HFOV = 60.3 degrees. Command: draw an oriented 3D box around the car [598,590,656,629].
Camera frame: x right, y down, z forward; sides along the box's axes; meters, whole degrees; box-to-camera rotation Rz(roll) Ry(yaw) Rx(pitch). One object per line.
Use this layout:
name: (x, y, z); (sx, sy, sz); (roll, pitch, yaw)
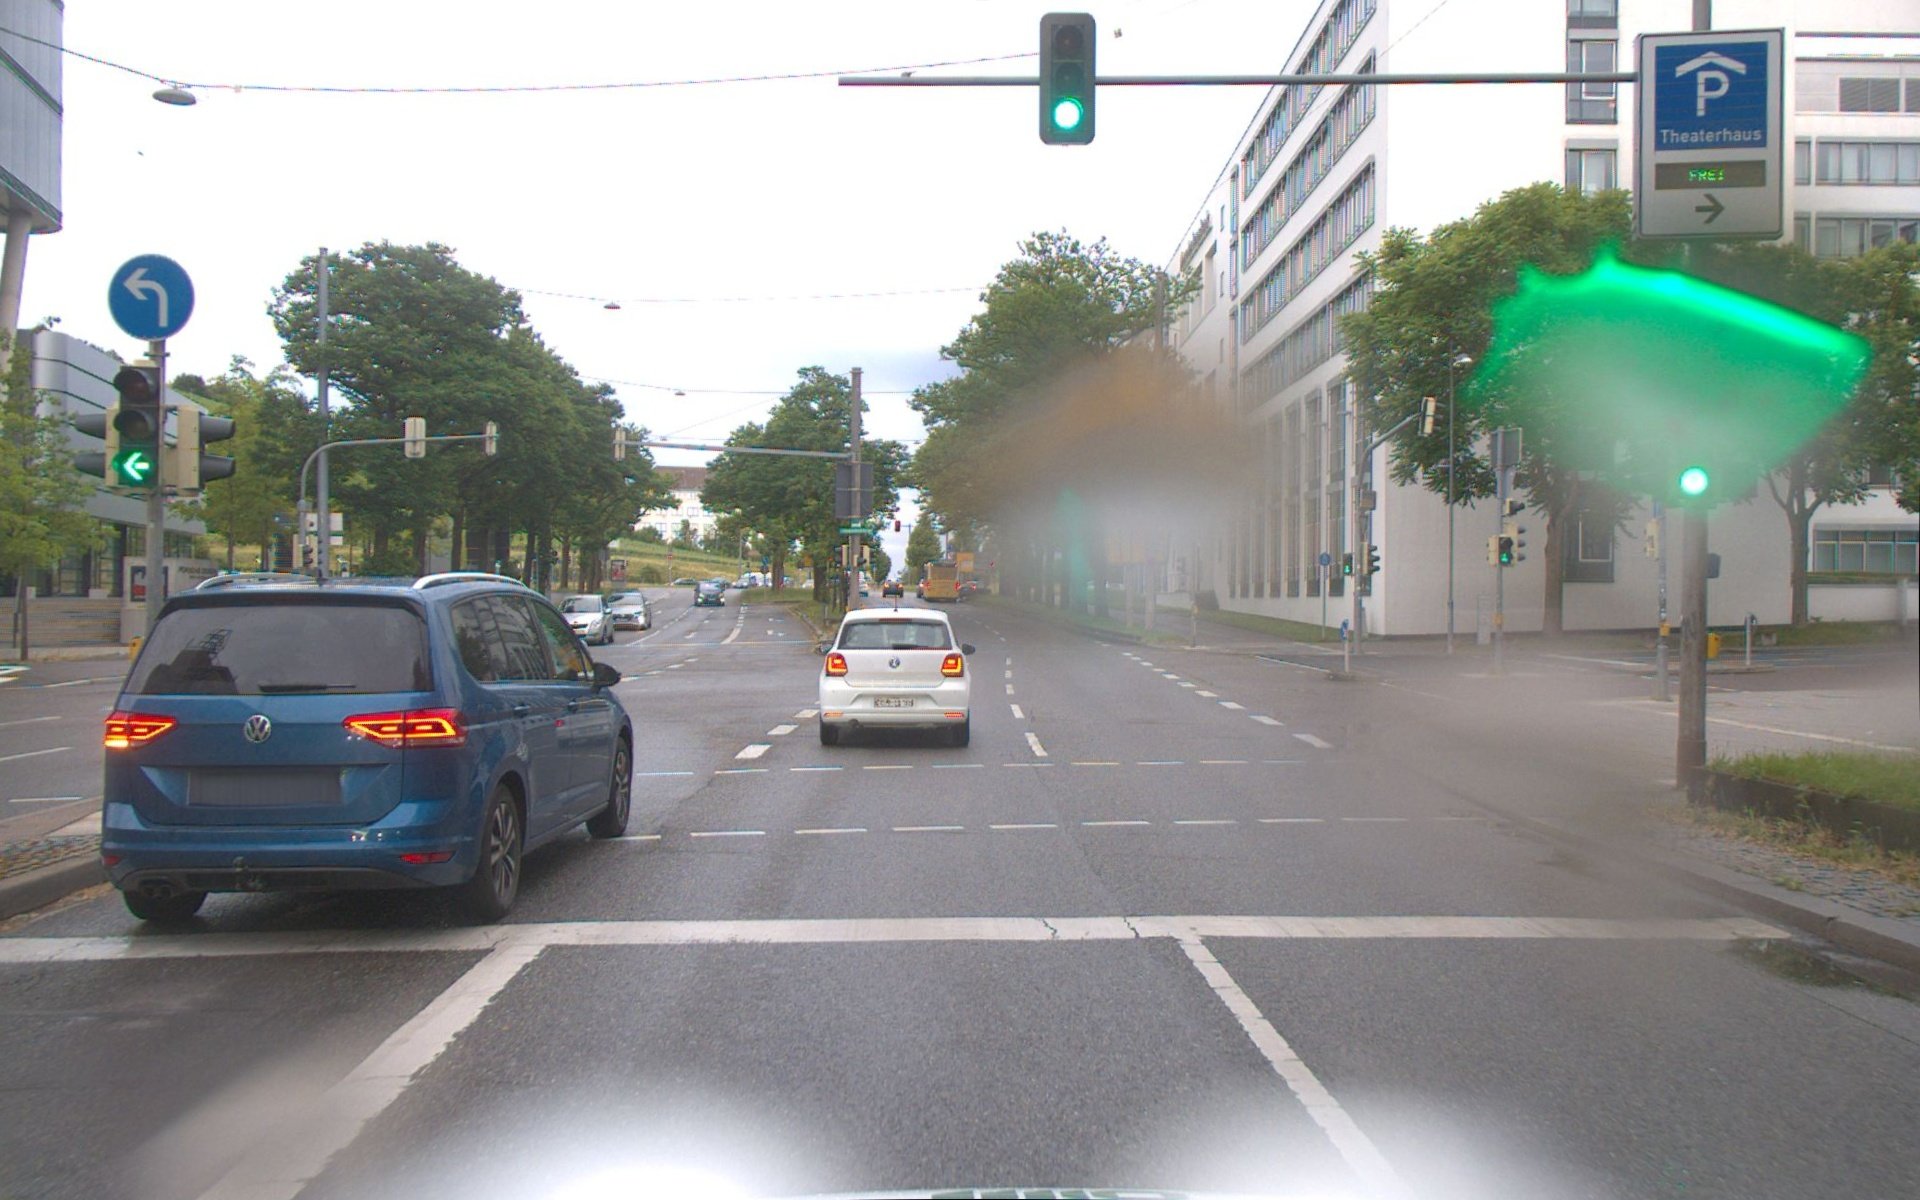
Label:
car: (-13.271, 0.343, 66.155); (1.779, 1.436, 4.650); (-1, 1, -6)

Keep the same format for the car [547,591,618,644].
car: (-11.922, 0.529, 52.436); (1.716, 1.547, 3.812); (-1, 1, -6)

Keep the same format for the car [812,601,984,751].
car: (-0.702, 0.792, 19.078); (1.758, 1.528, 3.998); (1, 0, -2)

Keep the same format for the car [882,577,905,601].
car: (-5.848, -0.967, 145.178); (1.954, 2.049, 3.997); (0, 0, -3)

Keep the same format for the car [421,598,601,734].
car: (-5.843, 0.755, 21.205); (1.821, 1.537, 4.022); (-1, 0, -21)

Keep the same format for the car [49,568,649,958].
car: (-2.962, 0.688, 9.052); (1.736, 1.624, 4.197); (0, 0, 0)

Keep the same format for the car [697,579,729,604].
car: (-16.720, -0.597, 111.996); (1.955, 1.644, 5.113); (0, 1, -7)

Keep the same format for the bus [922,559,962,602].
bus: (-1.528, -1.605, 132.875); (2.772, 3.323, 9.995); (1, 1, -3)

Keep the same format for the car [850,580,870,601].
car: (-8.865, -0.857, 146.683); (1.759, 1.772, 3.997); (-1, 0, -4)

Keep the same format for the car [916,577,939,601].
car: (-2.895, -0.960, 146.062); (1.954, 2.049, 3.997); (0, 0, -3)

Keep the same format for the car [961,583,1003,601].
car: (1.962, -0.665, 145.240); (1.670, 1.542, 3.805); (0, 0, 42)
